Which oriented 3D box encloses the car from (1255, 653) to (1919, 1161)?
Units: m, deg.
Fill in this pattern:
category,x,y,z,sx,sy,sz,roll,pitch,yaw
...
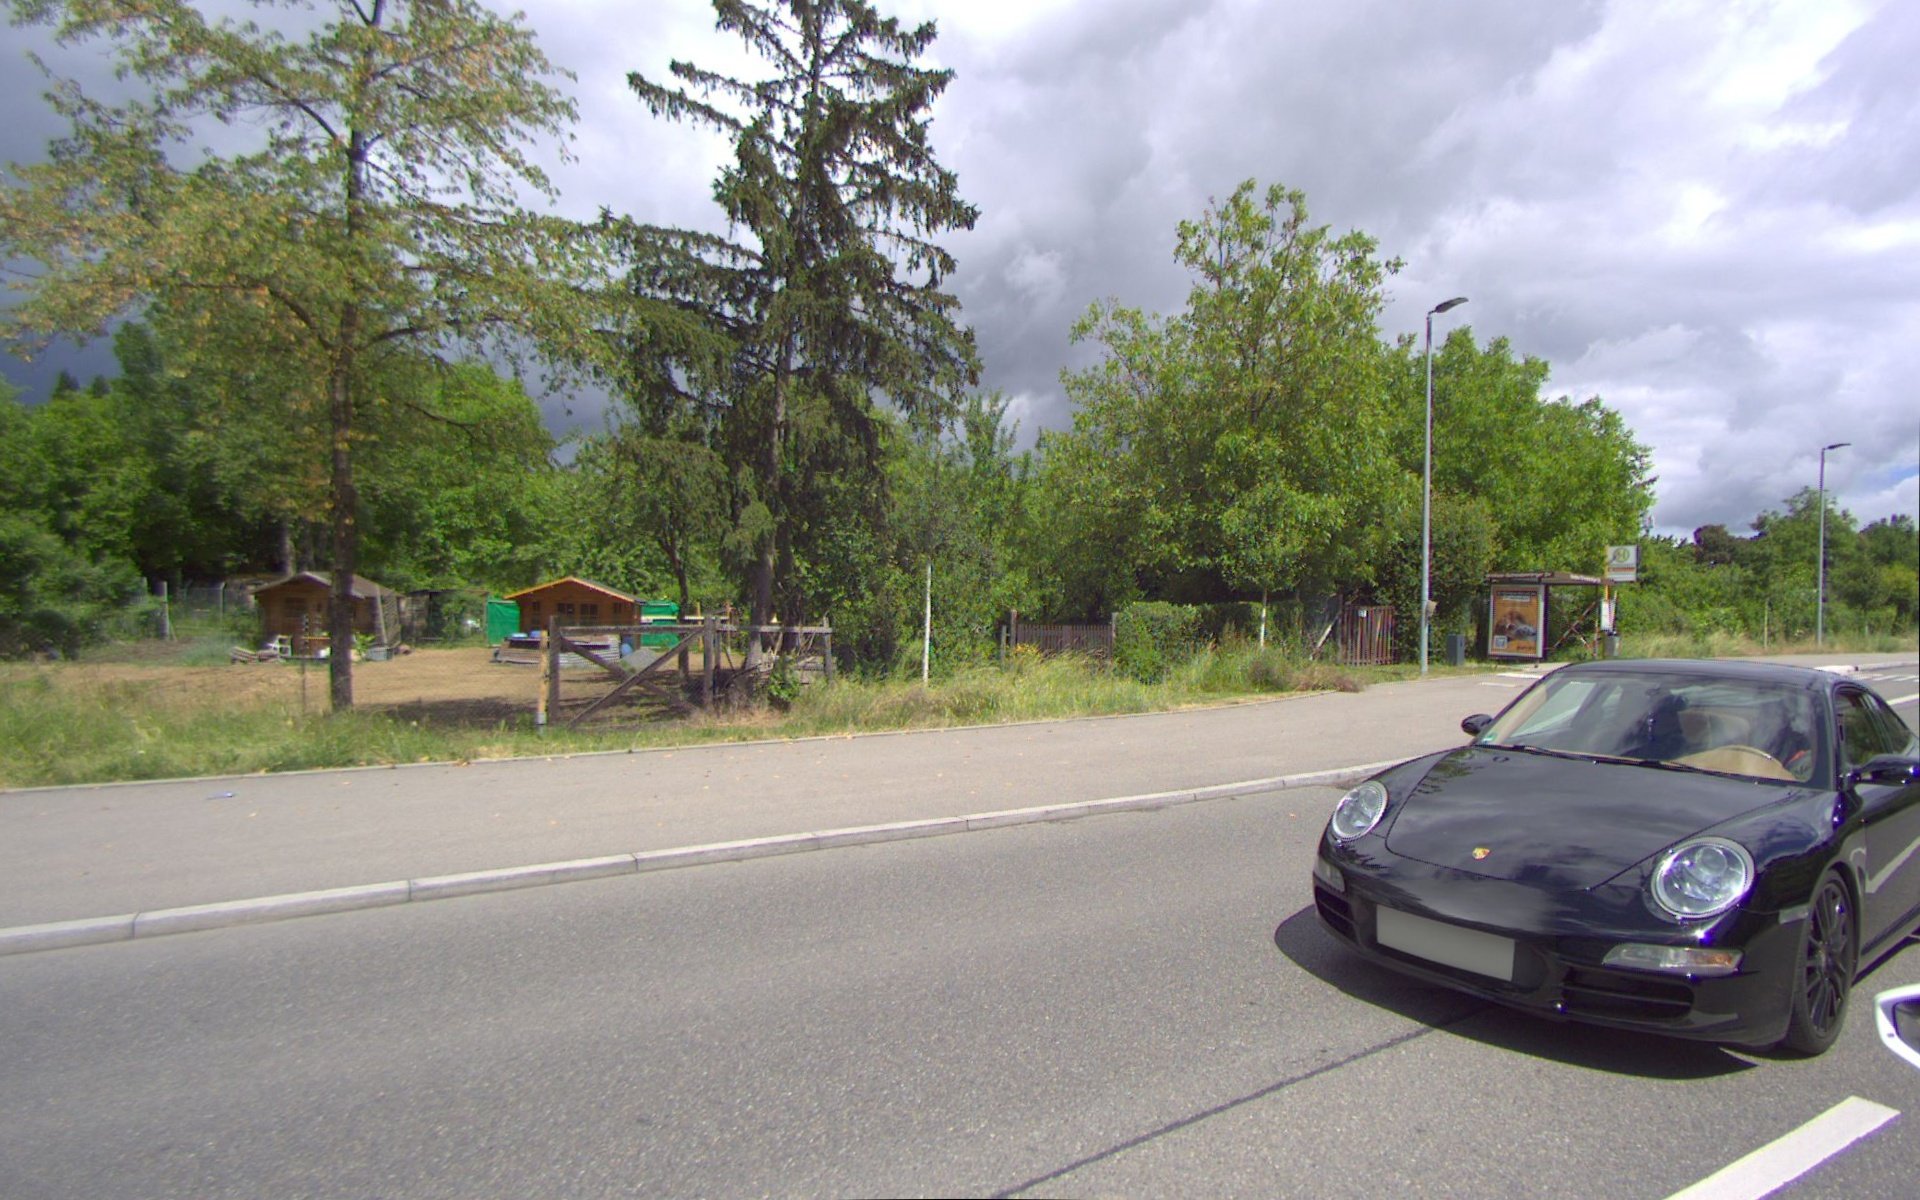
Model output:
category,x,y,z,sx,sy,sz,roll,pitch,yaw
car,3.327,0.954,4.691,3.966,1.318,1.722,2,-1,-37
